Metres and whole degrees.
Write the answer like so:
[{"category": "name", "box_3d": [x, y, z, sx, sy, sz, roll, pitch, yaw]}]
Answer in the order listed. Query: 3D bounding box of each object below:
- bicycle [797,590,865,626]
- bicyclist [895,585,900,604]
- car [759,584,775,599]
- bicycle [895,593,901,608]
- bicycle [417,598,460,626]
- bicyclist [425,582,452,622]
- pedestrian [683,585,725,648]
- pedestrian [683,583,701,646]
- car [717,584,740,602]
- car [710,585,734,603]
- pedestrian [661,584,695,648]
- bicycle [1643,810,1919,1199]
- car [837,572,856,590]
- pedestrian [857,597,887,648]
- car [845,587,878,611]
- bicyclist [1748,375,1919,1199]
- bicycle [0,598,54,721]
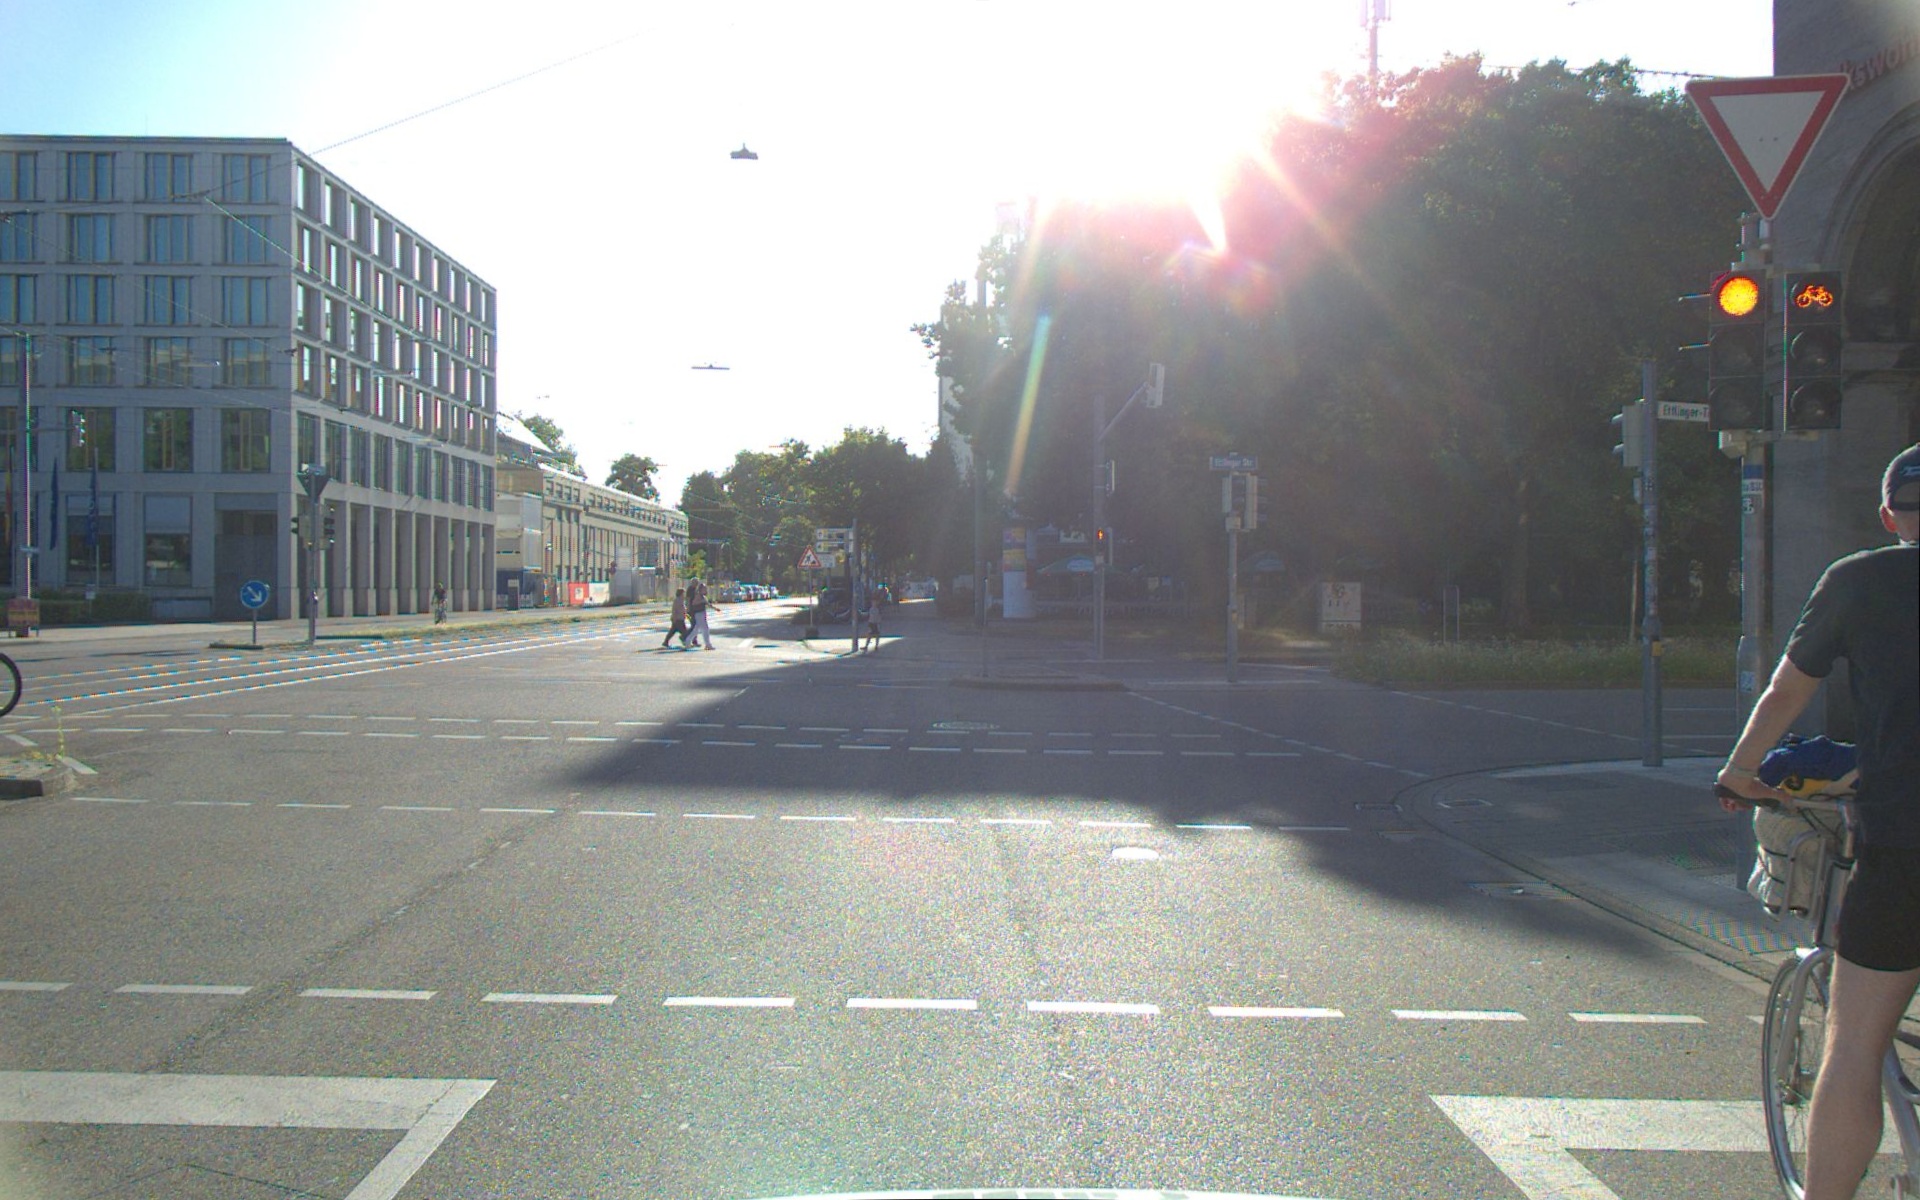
[{"category": "bicycle", "box_3d": [-5.228, 0.334, 67.054, 2.688, 1.391, 0.631, 1, -1, 10]}, {"category": "bicyclist", "box_3d": [-3.728, -0.341, 98.794, 0.312, 1.147, 0.291, 0, 0, -1]}, {"category": "car", "box_3d": [-22.652, -0.971, 193.782, 1.453, 1.780, 3.999, 0, 0, -1]}, {"category": "bicycle", "box_3d": [-3.722, 0.034, 98.953, 0.317, 0.883, 1.483, 0, 0, -1]}, {"category": "bicycle", "box_3d": [-21.889, 0.493, 69.485, 0.857, 1.140, 3.013, 0, 0, 0]}, {"category": "bicyclist", "box_3d": [-21.873, 0.065, 69.340, 0.857, 1.670, 0.822, 0, 0, 0]}, {"category": "pedestrian", "box_3d": [-6.676, 0.425, 43.131, 0.964, 1.615, 0.660, 0, -1, 1]}, {"category": "pedestrian", "box_3d": [-7.246, 0.401, 44.779, 0.432, 1.692, 0.376, 0, 0, -2]}, {"category": "car", "box_3d": [-22.343, -0.656, 159.755, 1.695, 1.682, 3.999, 0, 0, -1]}, {"category": "car", "box_3d": [-22.404, -0.580, 155.596, 1.695, 1.682, 3.999, 0, 0, -1]}, {"category": "pedestrian", "box_3d": [-7.412, 0.423, 43.473, 0.779, 1.668, 0.533, 0, 0, 2]}, {"category": "bicycle", "box_3d": [2.013, 1.063, 3.731, 0.381, 0.921, 1.952, 0, 0, 8]}, {"category": "car", "box_3d": [-12.941, -2.139, 189.493, 1.953, 2.049, 3.999, 0, 0, -1]}, {"category": "pedestrian", "box_3d": [-2.356, 0.607, 44.415, 0.737, 1.356, 0.742, 0, 0, 0]}, {"category": "car", "box_3d": [-5.410, -0.053, 91.182, 1.783, 1.301, 3.998, 0, 0, -3]}, {"category": "bicyclist", "box_3d": [2.133, 0.422, 3.469, 0.656, 1.707, 0.657, 0, 0, 2]}, {"category": "bicycle", "box_3d": [-11.086, 0.640, 18.054, 1.945, 1.314, 0.791, 0, 0, -3]}]
